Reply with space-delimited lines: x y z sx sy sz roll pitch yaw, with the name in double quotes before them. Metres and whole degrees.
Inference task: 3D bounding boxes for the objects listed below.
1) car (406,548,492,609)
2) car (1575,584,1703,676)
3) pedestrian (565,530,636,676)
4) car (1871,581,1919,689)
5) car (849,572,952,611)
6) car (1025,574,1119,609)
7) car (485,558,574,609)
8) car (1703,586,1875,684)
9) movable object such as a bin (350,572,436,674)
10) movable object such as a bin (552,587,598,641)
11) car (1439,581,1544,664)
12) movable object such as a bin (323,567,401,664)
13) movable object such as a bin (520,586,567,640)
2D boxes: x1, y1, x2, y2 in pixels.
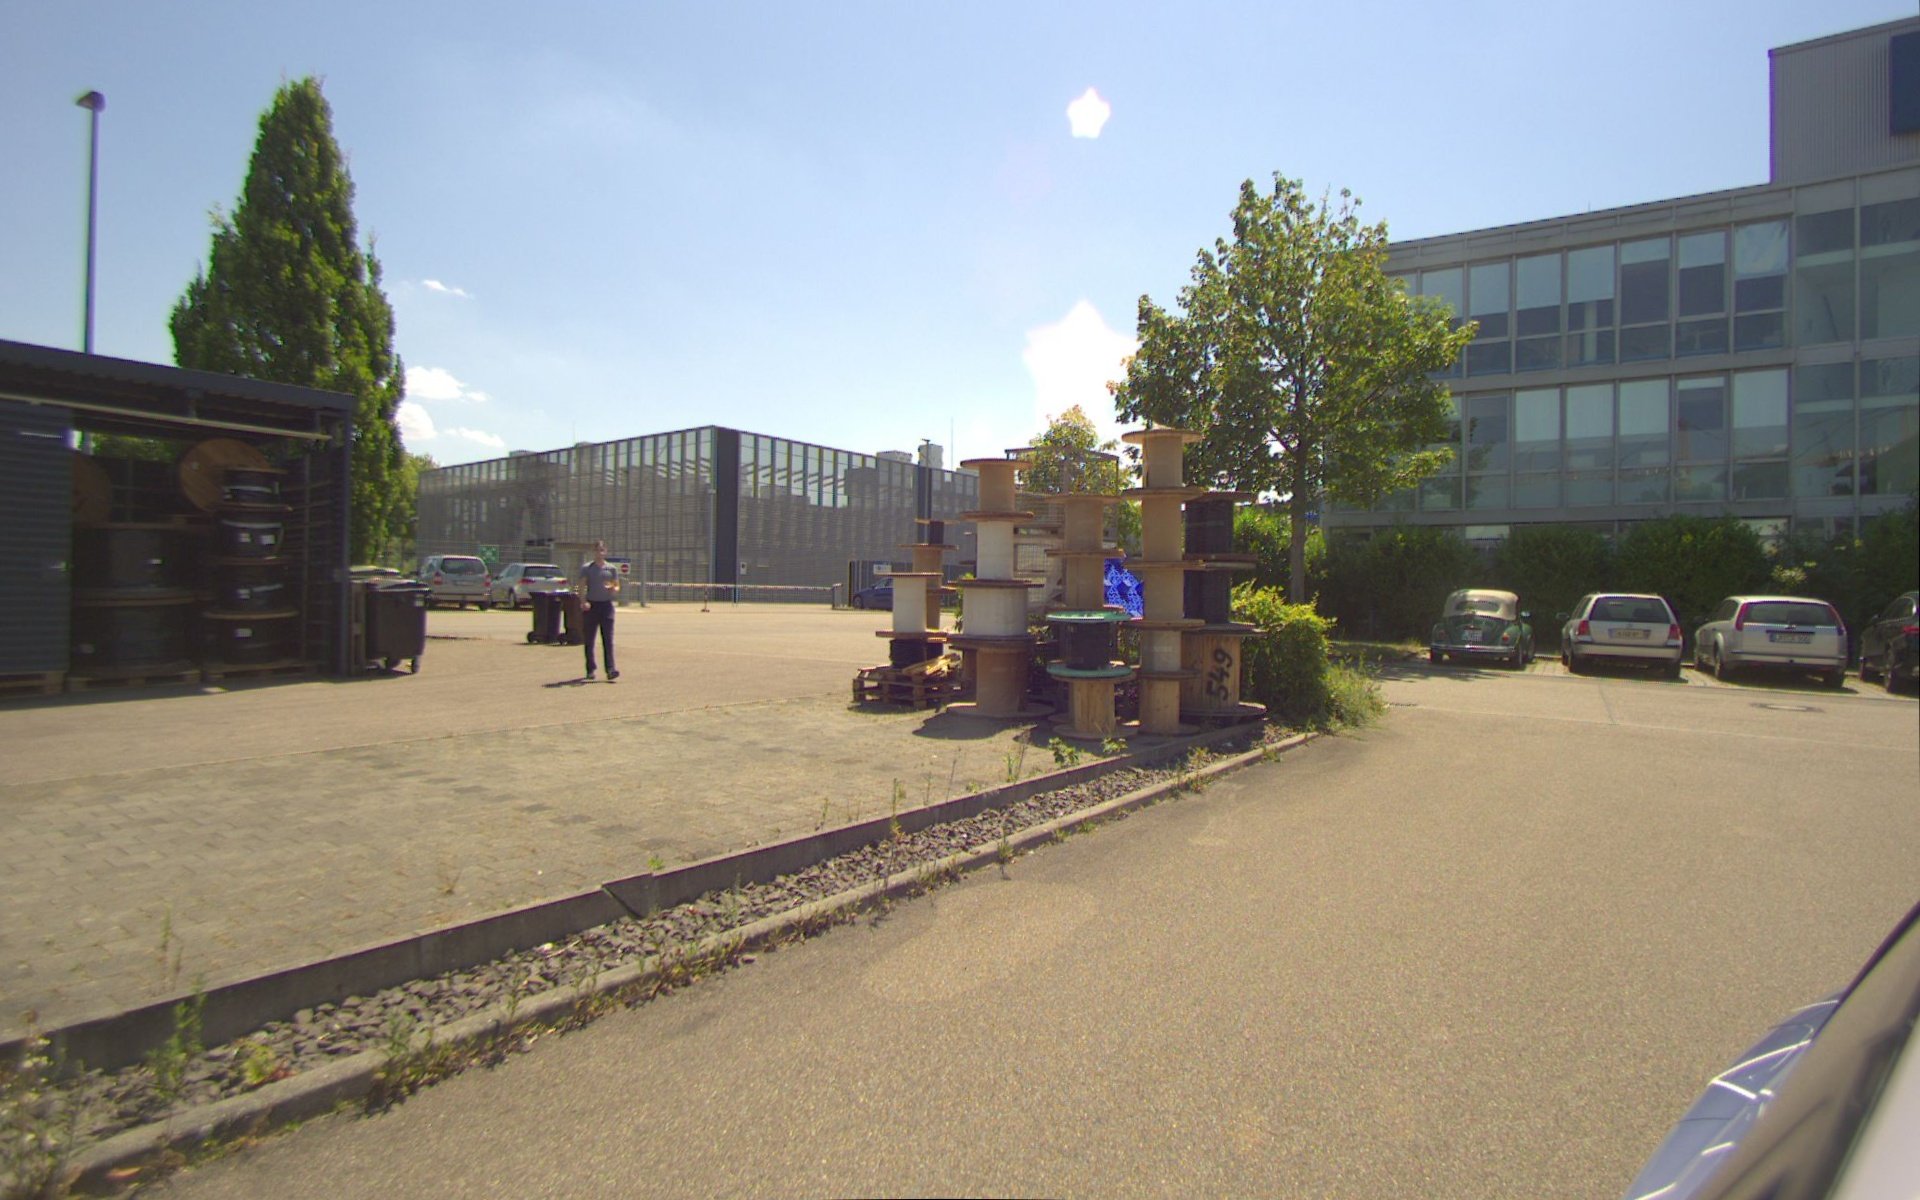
"car" -15.701 -0.676 30.996 1.816 1.727 4.001 0 1 -35
"car" 12.531 0.472 18.868 1.629 1.470 3.564 3 2 29
"pedestrian" -4.600 0.033 12.931 0.792 1.790 0.770 1 1 -23
"car" 16.425 0.541 16.409 1.928 1.622 3.811 3 2 35
"car" -2.433 -0.367 40.454 1.826 1.427 4.441 0 1 -40
"car" 5.110 -0.426 46.577 1.748 1.494 4.413 0 1 -37
"car" -13.823 -0.565 32.359 1.816 1.515 4.001 1 2 -35
"car" 14.625 0.531 18.057 1.718 1.470 3.564 2 2 29
"movable object such as a bin" -7.472 0.277 13.327 0.789 1.265 0.874 -1 2 -45
"movable object such as a bin" -6.840 0.239 17.993 0.576 0.929 0.546 1 2 12
"car" 10.612 0.372 20.095 1.512 1.463 3.379 3 2 33
"movable object such as a bin" -8.396 0.194 14.210 0.789 1.314 0.754 -1 2 -45
"movable object such as a bin" -7.462 0.222 18.150 0.576 0.929 0.546 1 2 12
